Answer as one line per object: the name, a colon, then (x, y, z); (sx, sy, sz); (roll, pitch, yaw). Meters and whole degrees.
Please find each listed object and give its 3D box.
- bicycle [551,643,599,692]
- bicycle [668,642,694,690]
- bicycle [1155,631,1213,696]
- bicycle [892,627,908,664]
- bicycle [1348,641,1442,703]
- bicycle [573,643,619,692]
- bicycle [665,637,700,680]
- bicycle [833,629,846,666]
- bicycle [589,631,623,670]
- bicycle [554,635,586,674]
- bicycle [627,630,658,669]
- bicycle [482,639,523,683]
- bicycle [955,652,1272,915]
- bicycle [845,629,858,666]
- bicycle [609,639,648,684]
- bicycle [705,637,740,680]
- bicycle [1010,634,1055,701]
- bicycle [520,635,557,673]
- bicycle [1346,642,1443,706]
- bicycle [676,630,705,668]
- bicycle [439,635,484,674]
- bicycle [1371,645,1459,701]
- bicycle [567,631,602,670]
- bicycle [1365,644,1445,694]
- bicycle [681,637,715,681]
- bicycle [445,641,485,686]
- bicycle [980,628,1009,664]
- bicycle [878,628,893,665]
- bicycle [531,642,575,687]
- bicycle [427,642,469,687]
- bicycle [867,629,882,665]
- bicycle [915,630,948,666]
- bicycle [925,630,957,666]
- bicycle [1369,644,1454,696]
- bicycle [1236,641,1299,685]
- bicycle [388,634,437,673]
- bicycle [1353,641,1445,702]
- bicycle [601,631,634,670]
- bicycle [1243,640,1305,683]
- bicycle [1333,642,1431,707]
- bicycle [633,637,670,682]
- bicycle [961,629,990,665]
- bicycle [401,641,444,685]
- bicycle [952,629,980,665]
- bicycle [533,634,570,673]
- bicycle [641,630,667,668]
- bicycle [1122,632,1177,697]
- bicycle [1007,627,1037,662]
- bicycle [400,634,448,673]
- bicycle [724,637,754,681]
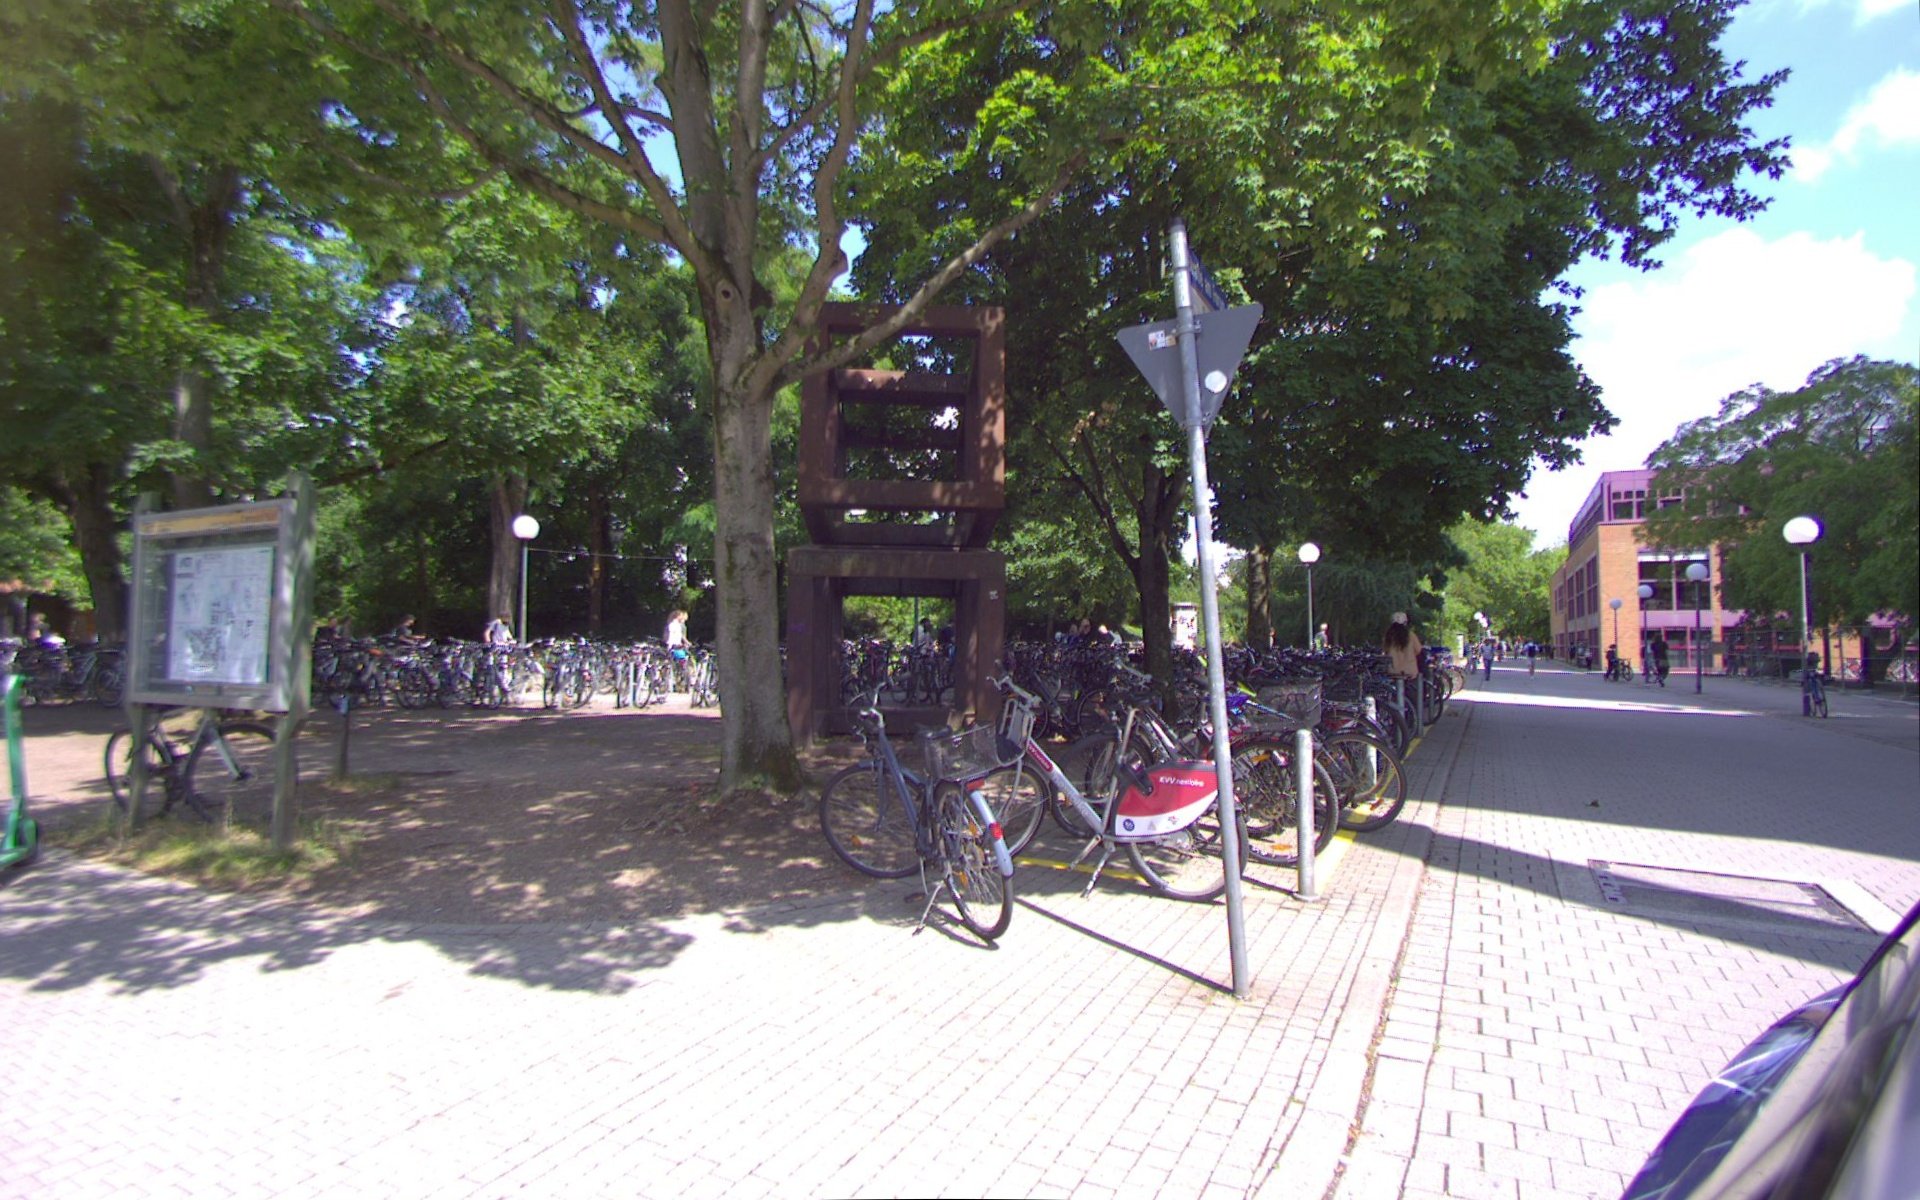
bicycle: (-8.388, 1.452, 22.093); (0.371, 0.991, 1.904); (-1, -1, -2)
bicycle: (-6.144, 1.427, 22.243); (0.370, 0.991, 1.907); (0, -1, -21)
bicycle: (4.322, 1.204, 19.640); (0.405, 1.185, 1.848); (0, -2, -10)
bicycle: (-1.918, 1.433, 32.205); (0.341, 1.107, 1.613); (0, -1, -9)
bicycle: (8.512, 1.403, 19.827); (1.670, 1.145, 0.474); (0, -4, 24)
bicycle: (-7.984, 1.461, 22.249); (0.371, 0.991, 1.904); (-1, -1, -2)
bicycle: (-6.749, 1.406, 24.690); (0.371, 0.991, 1.904); (-1, -1, -2)
bicycle: (-3.766, 1.457, 31.625); (0.341, 1.107, 1.613); (0, -1, -9)
bicycle: (-10.618, 1.502, 30.398); (0.469, 1.107, 1.611); (-1, -1, -1)
bicycle: (-11.642, 1.602, 30.236); (0.341, 1.107, 1.611); (-1, -1, -1)
bicycle: (-9.612, 1.485, 30.678); (0.469, 1.107, 1.611); (-1, -1, -1)
bicycle: (-11.197, 1.474, 24.818); (0.469, 0.991, 1.906); (0, -1, -10)
bicycle: (0.765, 0.857, 5.145); (1.474, 1.156, 0.556); (-2, -1, 27)
bicycle: (-3.399, 1.460, 31.646); (0.341, 1.107, 1.613); (0, -1, -9)
bicycle: (-7.993, 1.467, 24.490); (0.371, 0.991, 1.904); (-1, -1, -2)
bicycle: (-5.807, 1.410, 24.798); (0.469, 0.991, 1.904); (-1, -1, -2)
bicycle: (1.362, 1.255, 19.274); (0.405, 1.185, 1.848); (0, -2, -10)
bicycle: (-12.683, 1.612, 30.471); (0.469, 1.107, 1.611); (-1, -1, -1)
bicycle: (8.266, 1.393, 19.301); (1.670, 1.145, 0.474); (0, -4, 24)
bicycle: (-8.180, 1.464, 30.725); (0.469, 1.107, 1.611); (-1, -1, -1)
bicycle: (-15.122, 1.639, 30.729); (0.342, 1.107, 1.606); (-1, -1, 9)
bicycle: (9.495, 1.521, 21.175); (1.670, 1.098, 0.474); (0, -4, 24)
bicycle: (-11.295, 1.506, 30.494); (0.469, 1.107, 1.611); (-1, -1, -1)
bicycle: (10.247, 1.588, 23.341); (1.670, 1.098, 0.474); (0, -4, 24)
bicycle: (-6.345, 1.405, 24.580); (0.371, 0.991, 1.904); (-1, -1, -2)
bicycle: (-11.842, 1.497, 24.252); (0.371, 0.991, 1.906); (0, -1, -11)
bicycle: (1.094, 1.477, 32.580); (0.341, 1.107, 1.614); (0, -1, -20)
bicycle: (-2.339, 1.448, 31.642); (0.341, 1.107, 1.613); (0, -1, -9)
bicycle: (-9.812, 1.537, 24.453); (0.371, 0.991, 1.904); (-1, -1, -2)
bicycle: (-12.253, 1.516, 24.249); (0.371, 0.991, 1.906); (0, -1, -11)
bicycle: (-2.682, 1.452, 31.621); (0.341, 1.107, 1.613); (0, -1, -9)
bicycle: (-0.912, 1.511, 32.071); (0.341, 1.107, 1.613); (0, -2, -28)
bicycle: (-0.613, 1.504, 32.244); (0.341, 1.107, 1.613); (0, -2, -28)
bicycle: (10.046, 1.557, 22.537); (1.664, 1.098, 0.476); (1, -4, 16)
bicycle: (7.950, 1.626, 26.200); (0.469, 1.098, 1.689); (4, -4, -29)
bicycle: (-16.517, 1.600, 30.571); (0.470, 1.107, 1.751); (-1, -1, 2)
bicycle: (8.807, 1.428, 20.339); (1.670, 1.145, 0.474); (0, -4, 24)
bicycle: (-10.271, 1.498, 30.407); (0.469, 1.107, 1.611); (-1, -1, -1)
bicycle: (8.241, 1.615, 26.655); (0.469, 1.098, 1.689); (4, -4, -29)
bicycle: (7.875, 1.385, 18.909); (1.670, 1.145, 0.450); (0, -4, 24)
bicycle: (-7.455, 1.421, 24.492); (0.371, 0.991, 1.904); (-1, -1, -2)
bicycle: (0.490, 1.486, 32.464); (0.341, 1.107, 1.614); (0, -1, -20)
bicycle: (-13.077, 1.511, 24.660); (0.371, 0.991, 1.906); (0, -1, -11)
bicycle: (0.172, 1.492, 32.345); (0.341, 1.107, 1.614); (0, -1, -20)
bicycle: (-12.312, 1.606, 30.527); (0.469, 1.107, 1.611); (-1, -1, -1)
bicycle: (-9.265, 1.481, 30.682); (0.341, 1.107, 1.611); (-1, -1, -1)
bicycle: (3.629, 1.217, 19.509); (0.405, 1.185, 1.848); (0, -2, -10)
bicycle: (2.009, 1.456, 33.153); (0.341, 1.107, 1.614); (0, -1, -20)
bicycle: (-16.175, 1.596, 30.557); (0.470, 1.107, 1.751); (-1, -1, 2)
bicycle: (-5.398, 1.419, 24.798); (0.371, 0.991, 1.904); (-1, -1, -2)
